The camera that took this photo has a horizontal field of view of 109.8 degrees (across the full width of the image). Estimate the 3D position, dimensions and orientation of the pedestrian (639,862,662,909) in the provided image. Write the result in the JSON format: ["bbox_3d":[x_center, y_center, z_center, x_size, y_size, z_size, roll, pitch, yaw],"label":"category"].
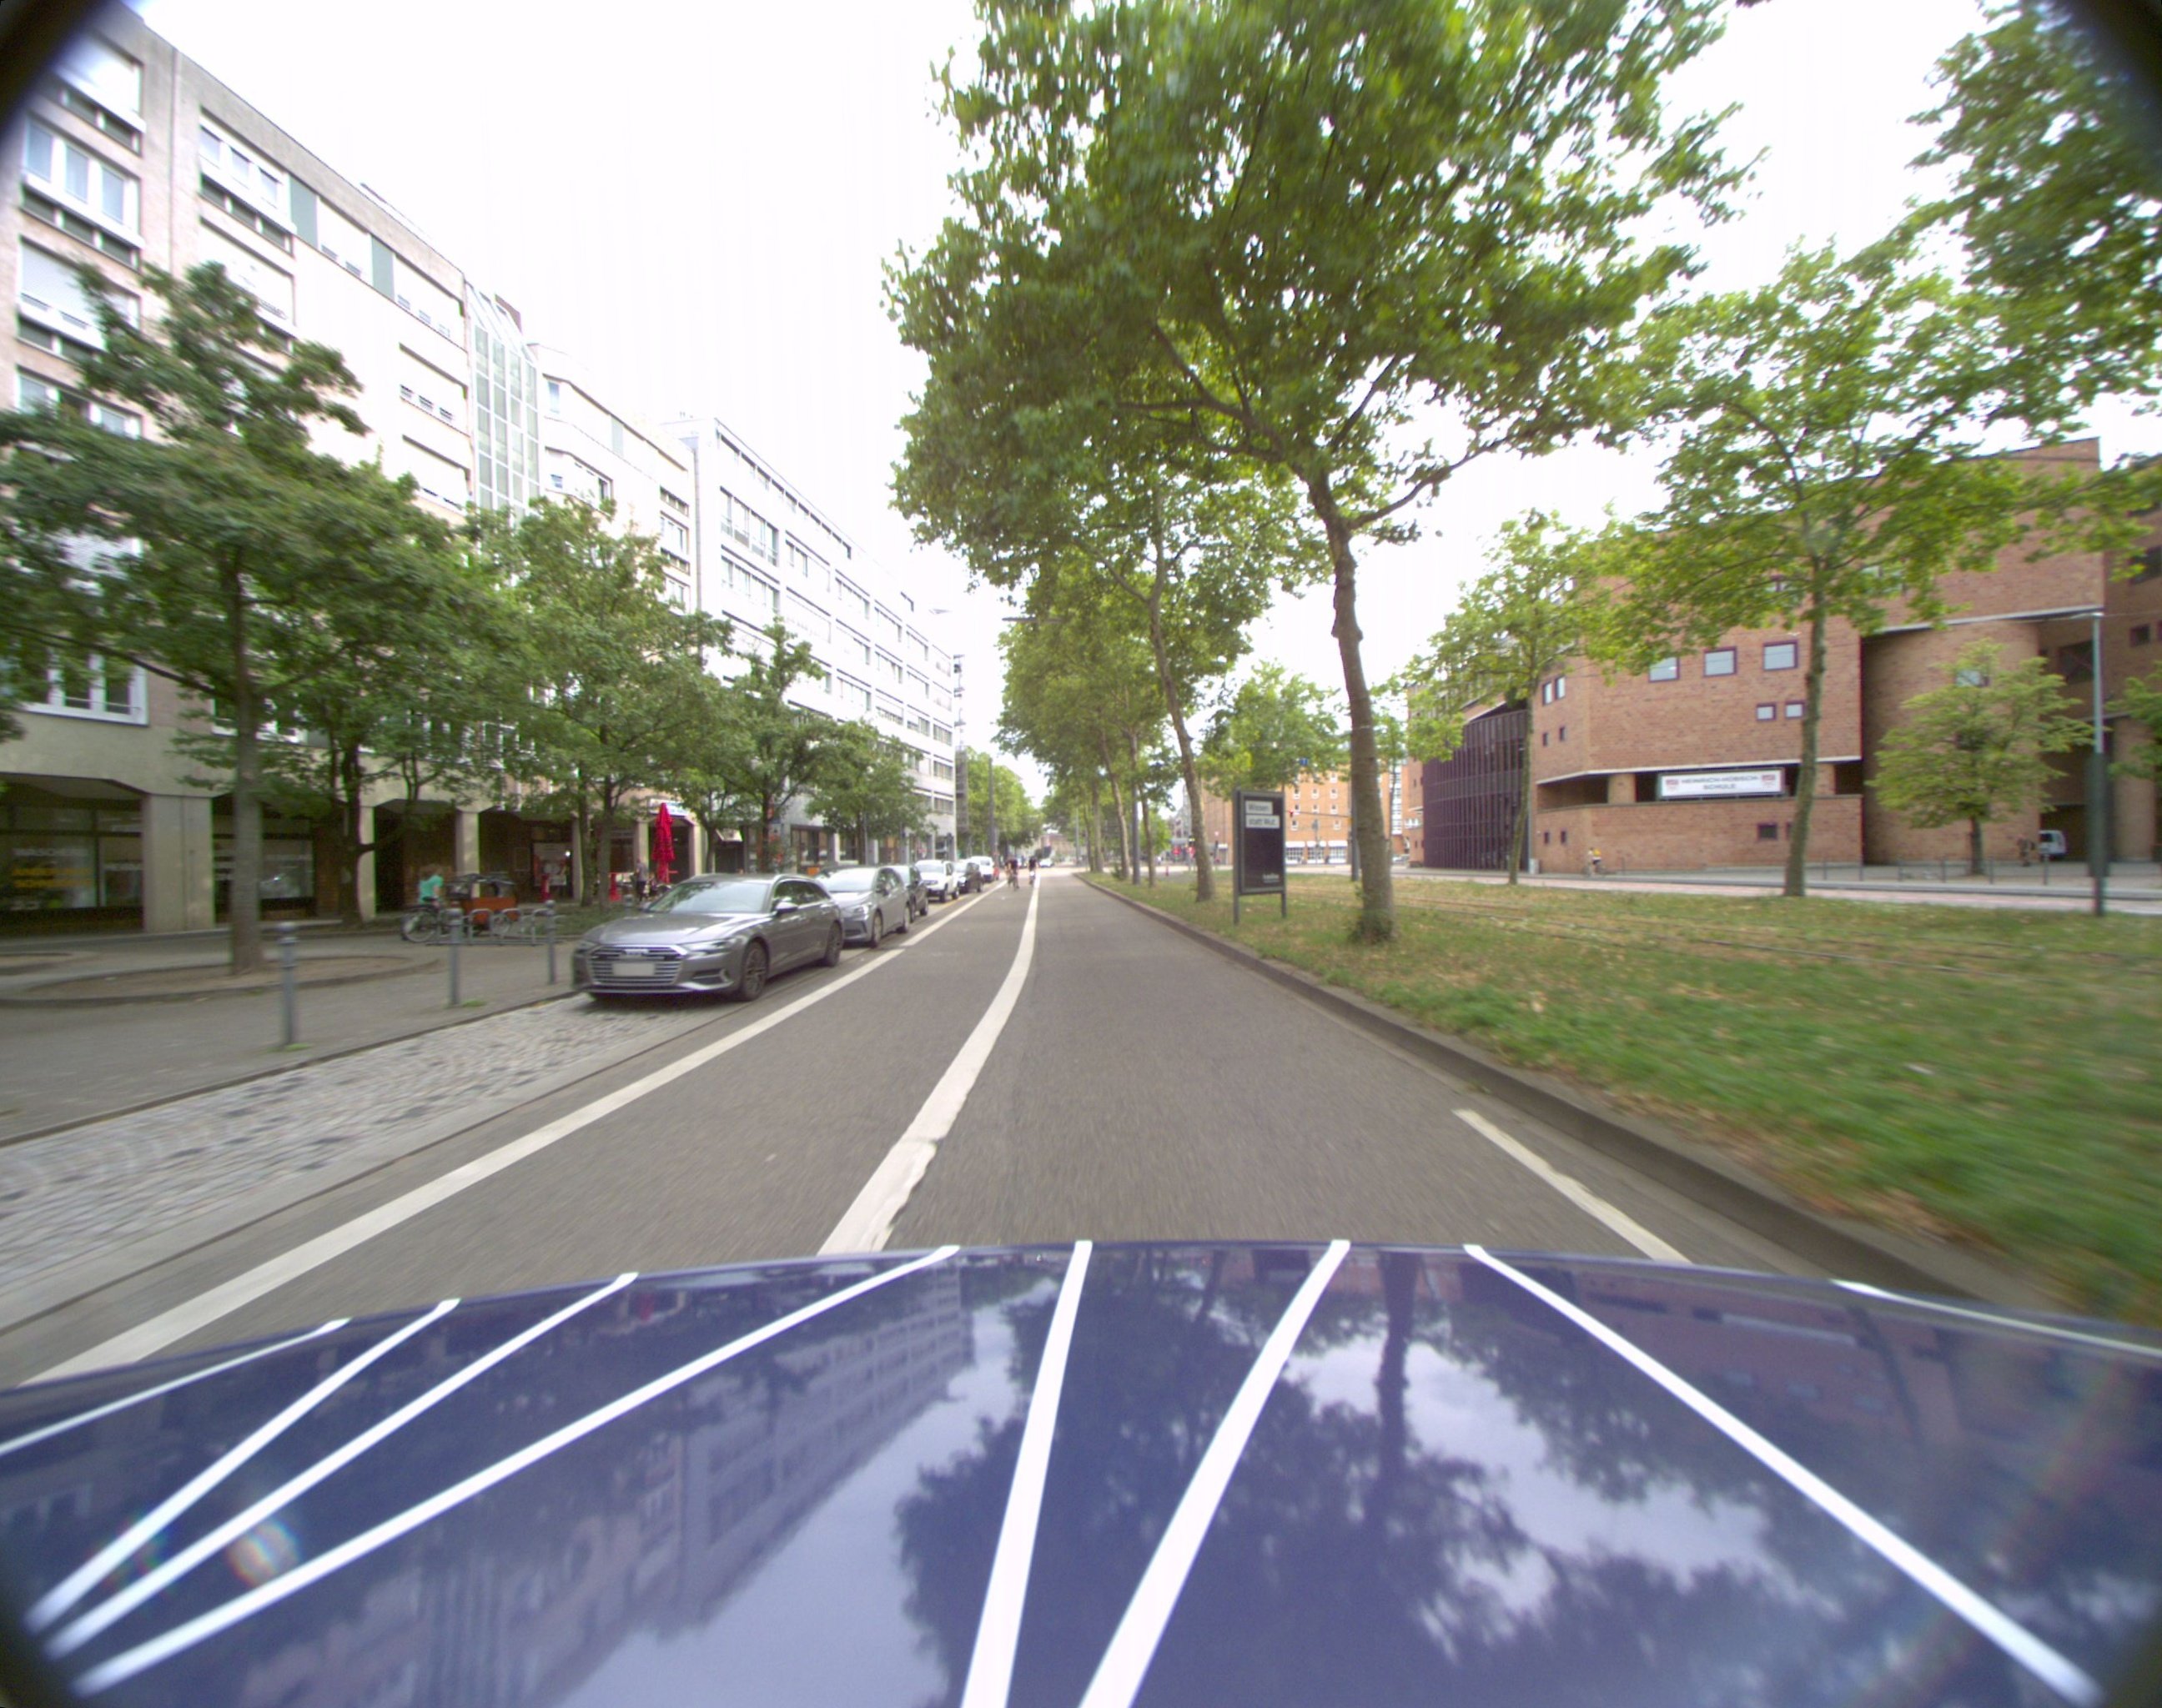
[{"bbox_3d":[-14.690,1.062,25.939,0.516,1.560,0.481,-1,1,33],"label":"pedestrian"}]

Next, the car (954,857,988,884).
[{"bbox_3d":[-6.953,1.022,48.262,2.001,1.593,4.580,2,-1,-8],"label":"car"}]

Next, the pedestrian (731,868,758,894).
[{"bbox_3d":[-15.306,1.244,34.575,0.822,1.150,0.699,-1,0,9],"label":"pedestrian"}]

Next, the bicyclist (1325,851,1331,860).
[{"bbox_3d":[40.763,0.279,125.377,0.865,1.492,0.636,-1,1,-5],"label":"bicyclist"}]

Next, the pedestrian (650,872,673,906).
[{"bbox_3d":[-14.712,1.234,26.656,0.516,1.170,0.458,-1,1,26],"label":"pedestrian"}]

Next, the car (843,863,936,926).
[{"bbox_3d":[-5.174,1.040,21.032,1.720,1.510,4.202,1,0,-3],"label":"car"}]

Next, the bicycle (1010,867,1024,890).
[{"bbox_3d":[-3.298,1.270,39.409,0.596,1.132,2.090,0,0,-2],"label":"bicycle"}]

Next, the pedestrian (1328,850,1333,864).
[{"bbox_3d":[37.575,0.475,114.467,0.524,2.002,0.447,-1,0,12],"label":"pedestrian"}]

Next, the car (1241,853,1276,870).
[{"bbox_3d":[16.013,0.671,68.765,1.789,1.413,4.656,-1,0,-4],"label":"car"}]

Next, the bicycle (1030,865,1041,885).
[{"bbox_3d":[-2.709,1.215,45.081,0.596,1.132,1.858,0,0,-2],"label":"bicycle"}]

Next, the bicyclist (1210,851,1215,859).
[{"bbox_3d":[22.654,0.174,130.927,0.864,1.492,0.637,-1,1,6],"label":"bicyclist"}]

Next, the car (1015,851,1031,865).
[{"bbox_3d":[-10.407,0.667,135.989,2.174,2.441,6.997,-1,0,1],"label":"car"}]

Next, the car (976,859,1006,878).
[{"bbox_3d":[-6.986,1.093,59.481,1.726,1.424,4.254,2,0,2],"label":"car"}]

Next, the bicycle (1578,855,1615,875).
[{"bbox_3d":[28.936,0.590,42.705,0.669,1.078,2.093,-1,0,1],"label":"bicycle"}]

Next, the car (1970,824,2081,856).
[{"bbox_3d":[55.632,-0.786,44.878,1.896,1.797,4.003,-1,0,9],"label":"car"}]

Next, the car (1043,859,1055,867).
[{"bbox_3d":[-5.932,1.637,142.347,1.845,1.369,3.834,-1,-1,2],"label":"car"}]

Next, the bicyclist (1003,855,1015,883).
[{"bbox_3d":[-4.236,0.863,44.835,0.591,1.644,1.035,0,0,-2],"label":"bicyclist"}]

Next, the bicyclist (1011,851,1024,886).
[{"bbox_3d":[-3.301,0.753,39.436,0.591,1.757,1.035,0,0,-2],"label":"bicyclist"}]

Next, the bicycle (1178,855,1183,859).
[{"bbox_3d":[21.961,0.708,167.467,0.659,0.931,1.891,-1,1,-7],"label":"bicycle"}]

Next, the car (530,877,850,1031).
[{"bbox_3d":[-4.675,1.087,10.045,1.821,1.434,4.665,0,0,0],"label":"car"}]

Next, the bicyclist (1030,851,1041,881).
[{"bbox_3d":[-2.715,0.717,45.106,0.591,1.760,1.035,0,0,-2],"label":"bicyclist"}]

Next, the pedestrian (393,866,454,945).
[{"bbox_3d":[-13.458,1.041,15.563,0.606,1.577,0.682,-1,0,7],"label":"pedestrian"}]

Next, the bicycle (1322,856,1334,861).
[{"bbox_3d":[40.731,0.720,125.375,1.796,0.777,0.639,-1,1,-5],"label":"bicycle"}]

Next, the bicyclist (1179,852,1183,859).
[{"bbox_3d":[21.956,0.324,167.472,0.651,1.492,0.817,-1,1,-7],"label":"bicyclist"}]

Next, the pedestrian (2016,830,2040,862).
[{"bbox_3d":[45.841,-0.395,36.781,0.508,1.523,0.521,-1,0,13],"label":"pedestrian"}]

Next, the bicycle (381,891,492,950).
[{"bbox_3d":[-12.935,1.309,15.331,0.486,1.007,1.863,-1,0,7],"label":"bicycle"}]

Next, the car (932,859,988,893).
[{"bbox_3d":[-5.888,1.040,37.570,1.779,1.567,4.306,1,0,4],"label":"car"}]

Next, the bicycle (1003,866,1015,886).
[{"bbox_3d":[-4.244,1.316,44.864,0.596,1.132,1.734,0,0,-2],"label":"bicycle"}]

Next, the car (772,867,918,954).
[{"bbox_3d":[-4.697,1.055,15.812,1.744,1.510,4.400,0,0,-1],"label":"car"}]

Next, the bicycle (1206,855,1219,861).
[{"bbox_3d":[22.639,0.645,130.943,2.058,1.002,0.640,-1,1,6],"label":"bicycle"}]

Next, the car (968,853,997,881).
[{"bbox_3d":[-6.914,0.901,53.855,1.832,1.853,4.646,1,0,-5],"label":"car"}]

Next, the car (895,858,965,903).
[{"bbox_3d":[-5.841,0.991,29.841,1.866,1.643,4.163,0,0,1],"label":"car"}]

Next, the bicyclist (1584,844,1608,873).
[{"bbox_3d":[28.930,0.240,42.670,0.665,1.581,0.984,-1,0,0],"label":"bicyclist"}]
